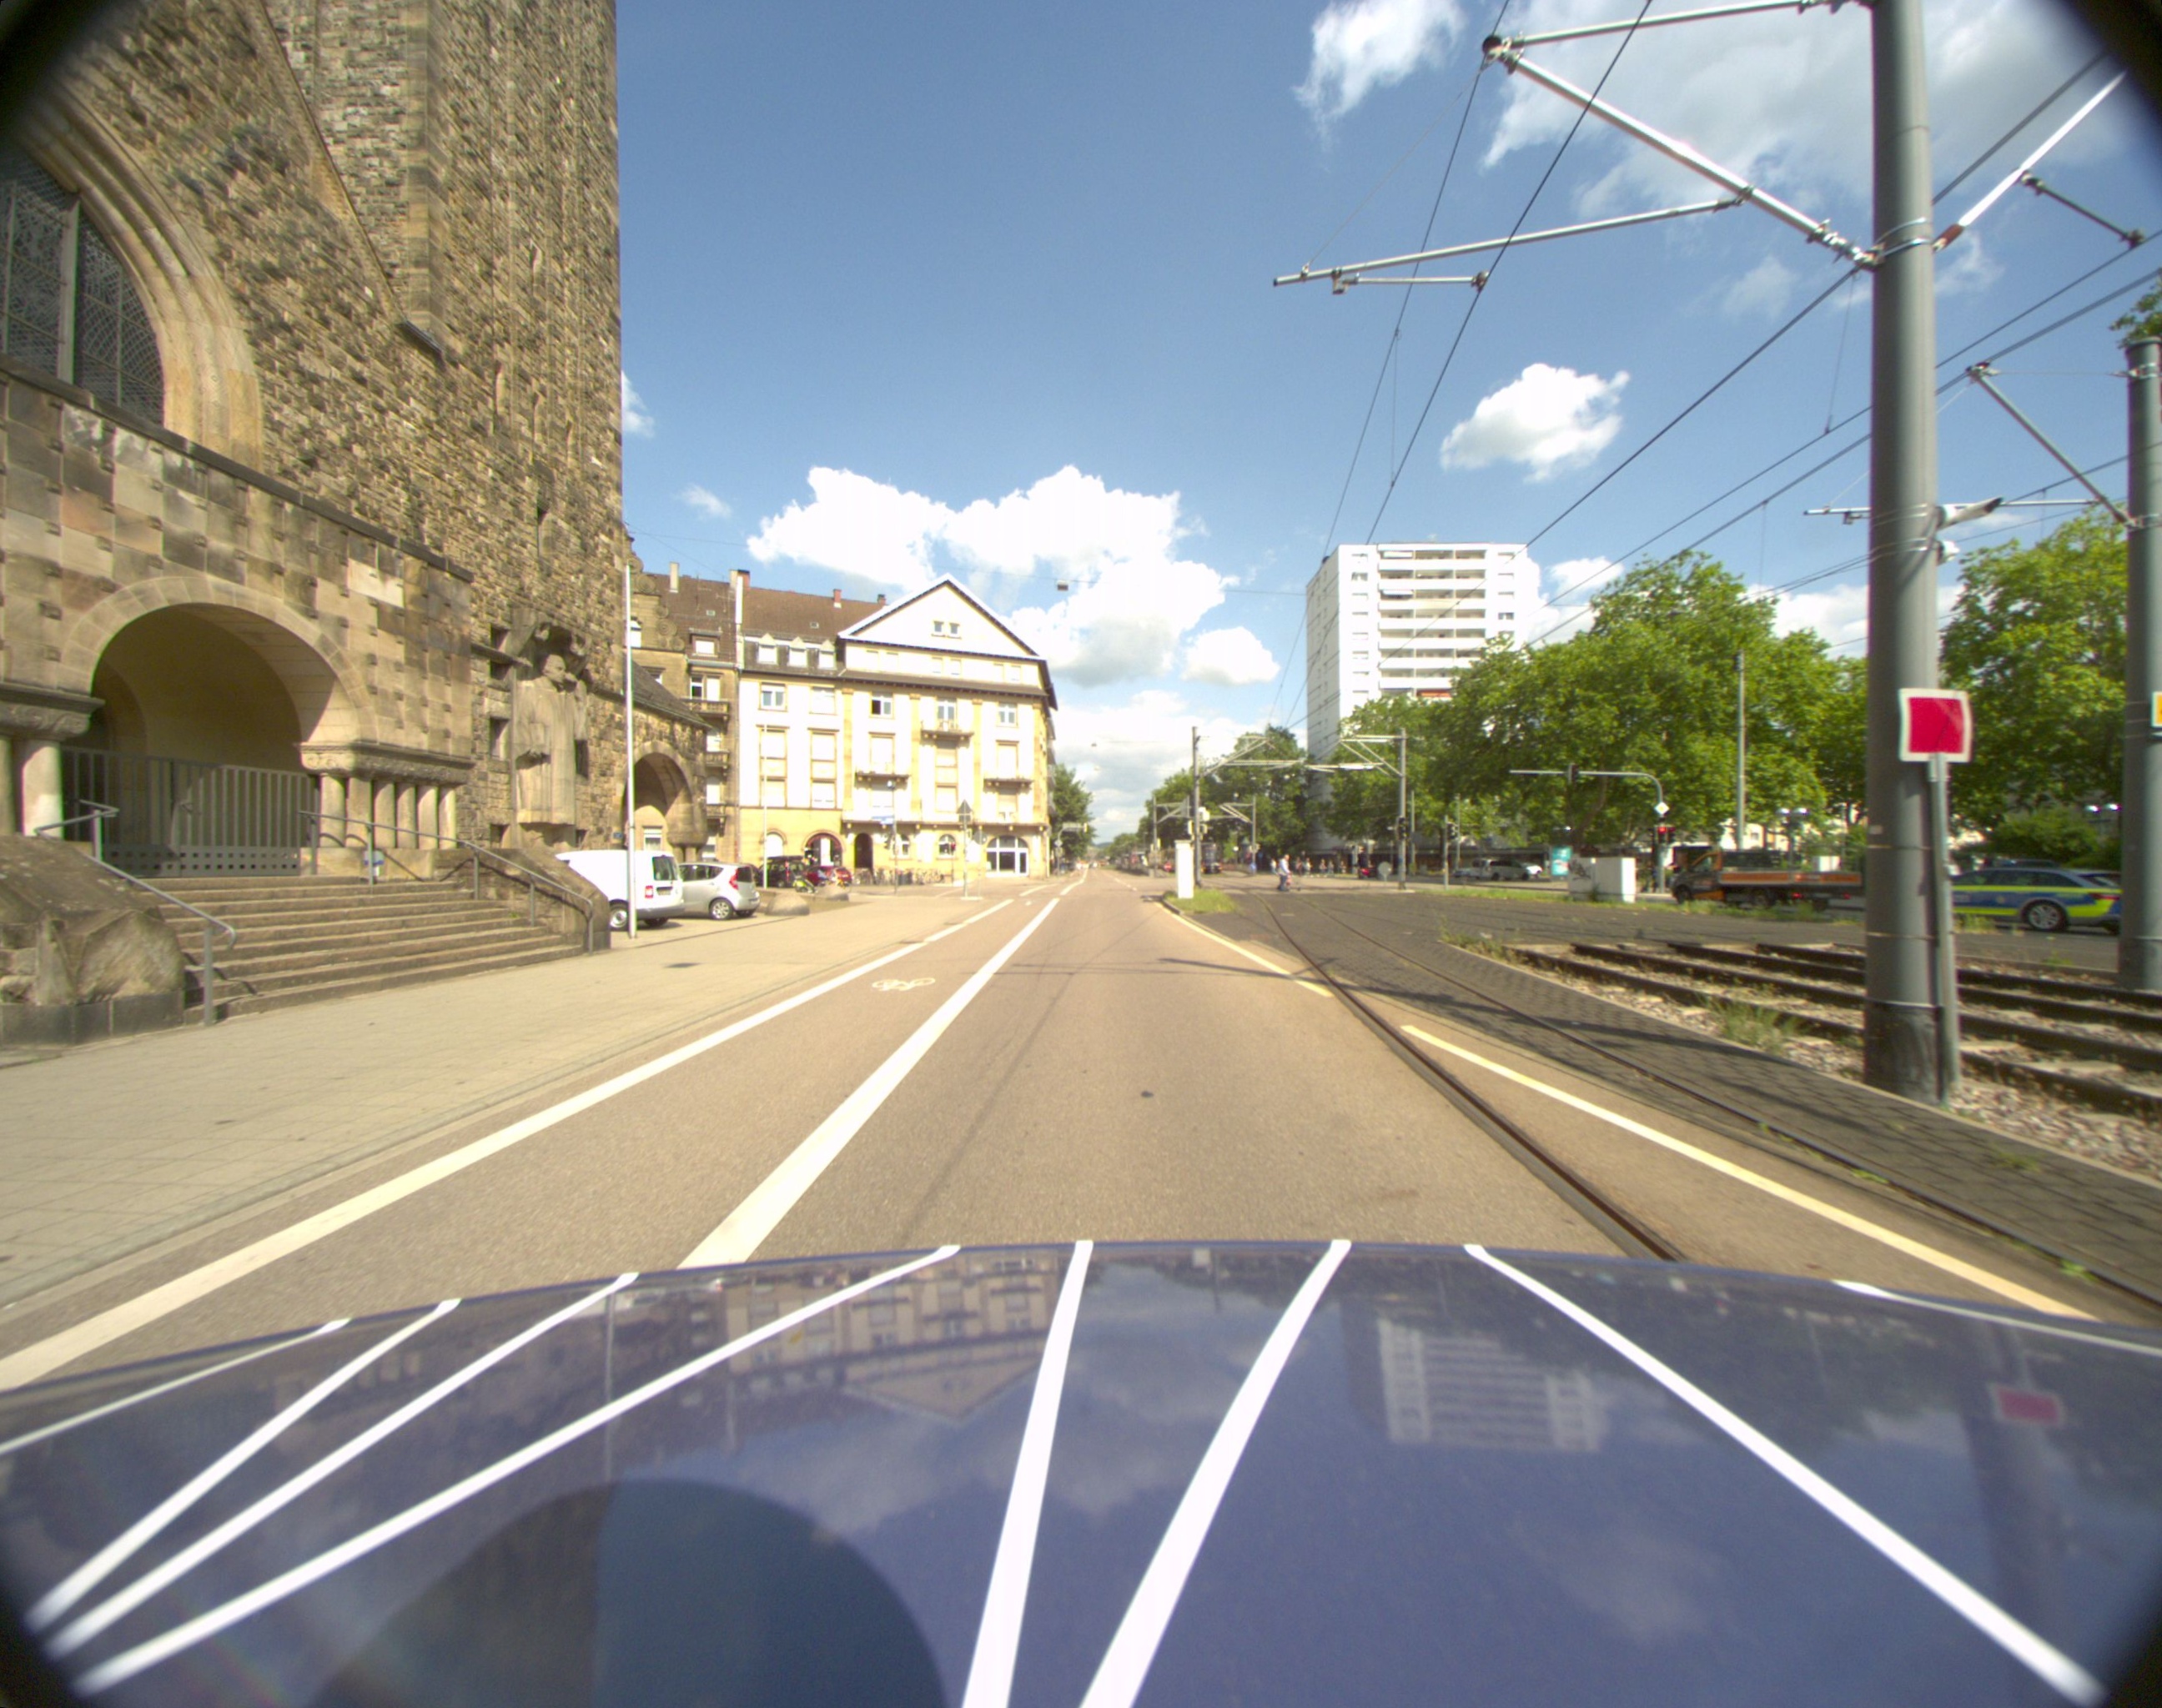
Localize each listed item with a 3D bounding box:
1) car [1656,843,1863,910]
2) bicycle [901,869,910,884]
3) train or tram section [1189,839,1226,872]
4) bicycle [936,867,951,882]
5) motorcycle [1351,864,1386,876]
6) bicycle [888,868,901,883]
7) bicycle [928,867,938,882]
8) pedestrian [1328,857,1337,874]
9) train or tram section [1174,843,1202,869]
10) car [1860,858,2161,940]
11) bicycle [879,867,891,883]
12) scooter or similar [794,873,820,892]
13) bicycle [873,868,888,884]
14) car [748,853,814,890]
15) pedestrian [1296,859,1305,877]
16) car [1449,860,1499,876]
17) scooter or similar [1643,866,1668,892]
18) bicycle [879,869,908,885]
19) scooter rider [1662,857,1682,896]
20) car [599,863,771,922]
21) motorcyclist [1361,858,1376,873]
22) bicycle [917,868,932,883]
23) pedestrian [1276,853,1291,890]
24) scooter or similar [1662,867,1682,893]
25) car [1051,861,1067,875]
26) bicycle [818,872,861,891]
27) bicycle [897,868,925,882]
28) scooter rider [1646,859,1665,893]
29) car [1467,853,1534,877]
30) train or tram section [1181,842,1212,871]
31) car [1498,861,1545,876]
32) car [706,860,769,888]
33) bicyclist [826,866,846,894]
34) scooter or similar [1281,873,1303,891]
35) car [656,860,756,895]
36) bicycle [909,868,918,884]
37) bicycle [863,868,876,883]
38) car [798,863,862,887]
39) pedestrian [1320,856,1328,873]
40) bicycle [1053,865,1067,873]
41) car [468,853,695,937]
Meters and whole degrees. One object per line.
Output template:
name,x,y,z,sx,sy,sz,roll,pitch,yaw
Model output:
car,22.066,0.754,25.117,2.080,1.974,5.337,0,-2,1
bicycle,-12.569,1.606,54.467,0.540,1.013,1.926,0,2,-10
train or tram section,14.433,0.184,87.624,2.802,3.540,11.379,0,0,2
bicycle,-10.265,1.534,56.678,0.611,1.013,1.872,0,2,-27
motorcycle,23.004,1.295,60.748,2.502,0.971,0.699,0,0,7
bicycle,-13.579,1.567,55.371,0.541,1.013,1.924,0,2,-25
bicycle,-11.012,1.536,56.419,0.610,1.013,1.874,0,2,-15
pedestrian,24.584,1.099,74.297,0.671,1.693,0.648,0,0,3
train or tram section,15.416,0.256,110.583,2.812,3.540,12.158,0,0,2
car,22.039,0.946,18.027,1.871,1.642,5.154,1,0,1
bicycle,-14.198,1.515,55.057,0.541,1.013,1.924,0,2,-25
scooter or similar,-14.494,1.523,40.202,1.133,0.971,0.888,0,0,-29
bicycle,-14.184,1.570,53.755,0.541,1.013,1.923,-1,2,-28
car,-20.224,1.127,51.164,3.988,2.071,1.971,5,3,29
pedestrian,21.191,1.354,73.376,0.671,1.693,0.648,0,0,3
car,37.182,1.350,71.887,4.002,1.481,1.858,0,0,-16
scooter or similar,27.320,1.184,36.146,0.877,1.219,0.544,-2,0,-21
bicycle,-12.974,1.591,52.663,1.932,1.013,0.538,-1,3,-41
scooter rider,27.412,1.044,35.238,0.543,1.799,0.681,-2,1,26
car,-10.824,1.020,20.958,3.776,1.538,1.798,0,0,-1
motorcyclist,22.989,0.903,60.744,0.976,1.210,0.699,0,0,7
bicycle,-11.276,1.550,54.799,0.602,1.013,1.877,1,2,2
pedestrian,9.406,0.811,35.325,0.528,1.722,0.557,0,0,-4
scooter or similar,27.435,1.205,35.264,0.543,1.164,0.878,-2,0,26
car,-2.921,1.852,101.357,1.851,1.779,4.000,2,0,0
bicycle,-13.093,1.491,41.147,2.137,0.983,0.651,0,0,-28
bicycle,-12.627,1.549,56.376,1.930,1.013,0.539,0,3,-21
scooter rider,27.357,1.023,36.159,0.438,1.584,0.544,-2,1,-21
car,35.423,0.891,64.179,5.175,1.881,1.997,-1,1,-18
train or tram section,14.891,0.282,98.865,2.812,3.540,11.183,0,0,2
car,43.137,1.390,74.391,4.080,1.481,1.858,0,0,-21
car,-22.624,1.291,49.981,3.988,1.659,1.714,2,2,29
bicyclist,-13.259,1.389,41.058,0.923,1.494,0.651,0,-1,-28
scooter or similar,9.826,1.294,35.355,0.840,0.799,0.553,0,0,-4
car,-19.841,1.220,40.410,4.670,1.729,1.811,0,0,-25
bicycle,-12.062,1.596,54.799,0.540,1.013,1.926,0,2,-10
bicycle,-15.117,1.525,54.304,0.541,1.013,1.924,0,2,-25
car,-17.253,1.439,52.192,3.988,1.433,1.972,2,2,29
pedestrian,24.552,1.068,76.798,0.671,1.693,0.648,0,0,3
bicycle,-2.546,1.817,93.867,1.693,0.980,0.497,0,0,-2
car,-11.447,0.903,17.632,4.013,1.813,1.863,0,0,-2
